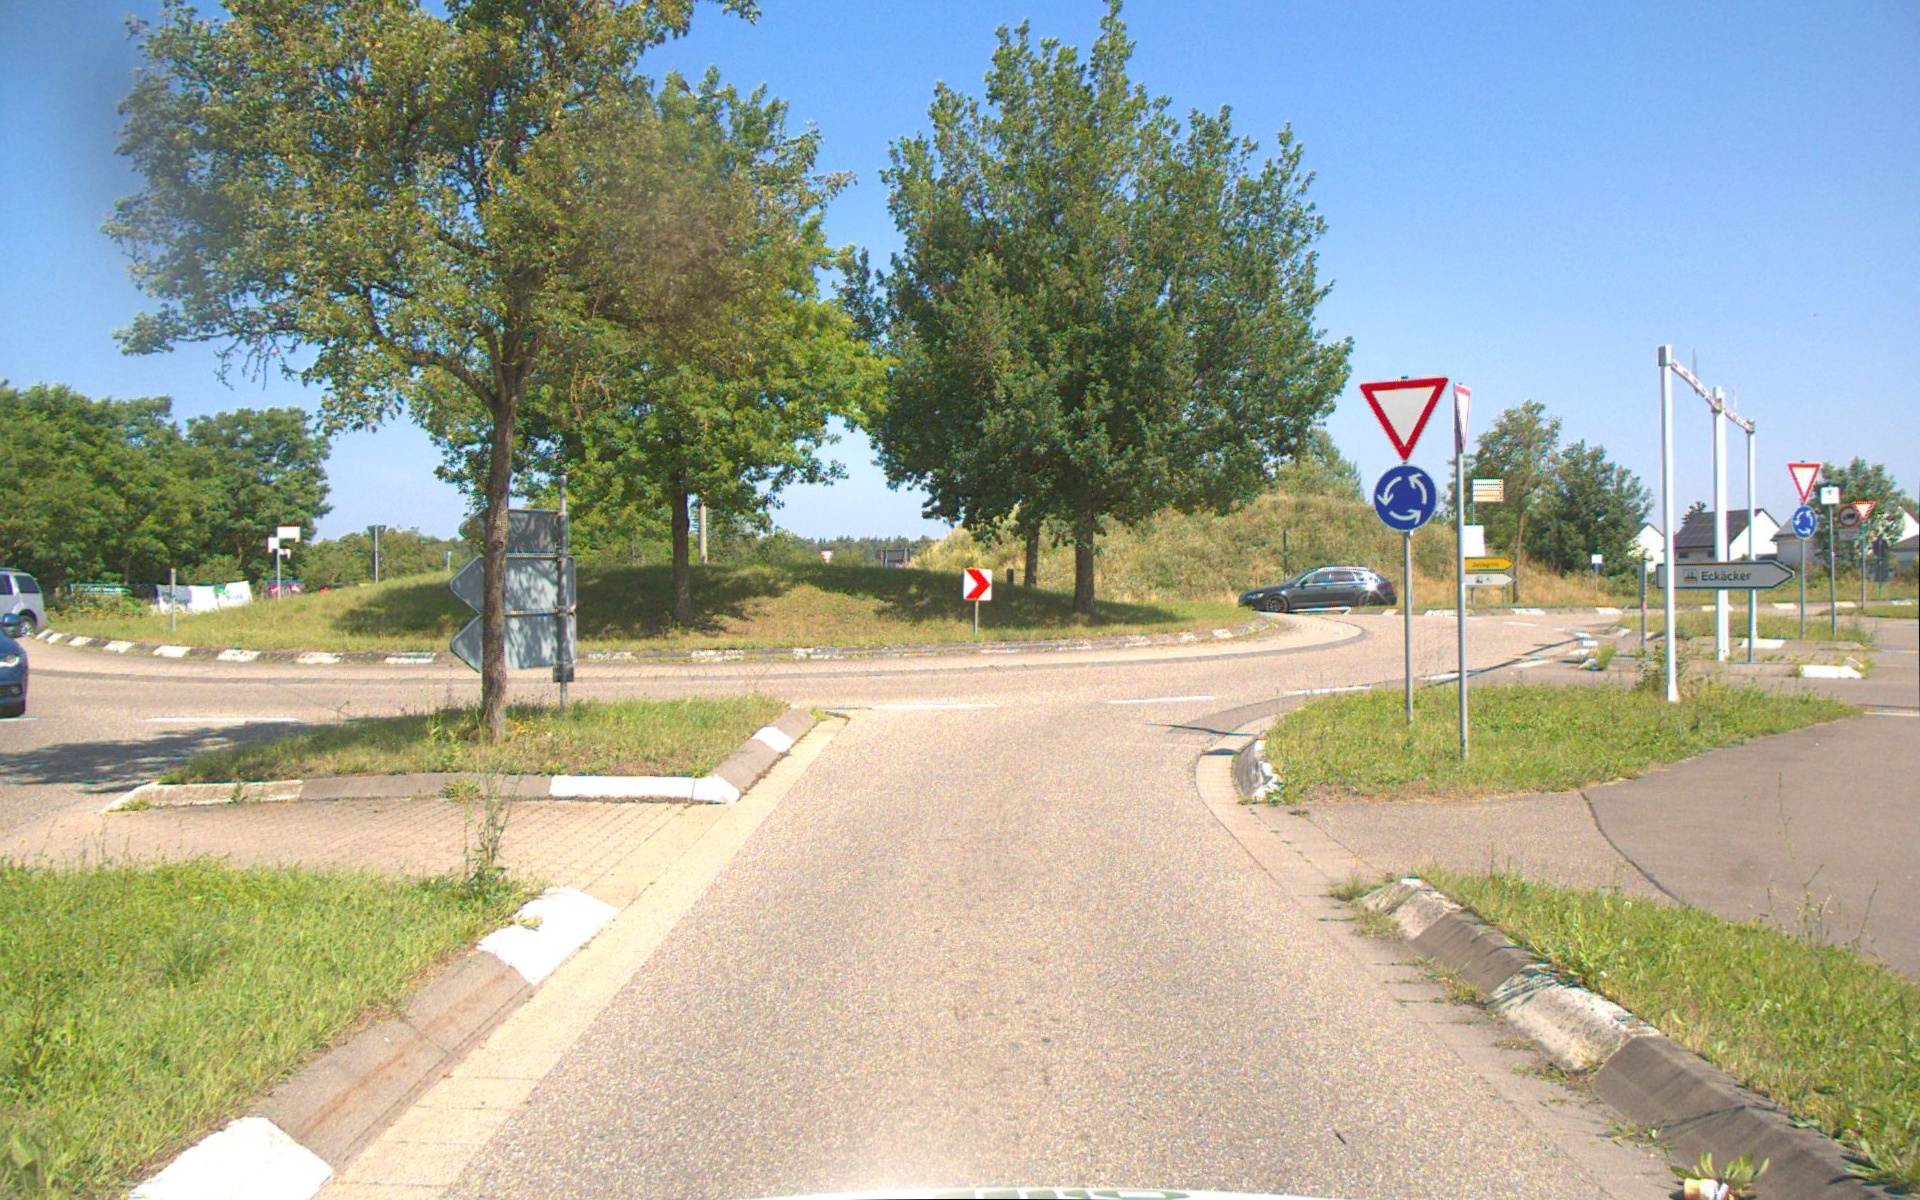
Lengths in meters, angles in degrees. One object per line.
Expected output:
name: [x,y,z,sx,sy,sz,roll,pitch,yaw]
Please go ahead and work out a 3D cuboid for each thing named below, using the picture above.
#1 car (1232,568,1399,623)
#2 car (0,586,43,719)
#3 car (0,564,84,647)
car: [10.879,-0.162,50.838,4.664,1.620,1.999,0,1,-3]
car: [-12.028,0.584,19.275,1.818,1.411,4.368,-2,1,-36]
car: [-22.192,0.133,37.427,1.853,1.847,4.600,-1,1,7]
